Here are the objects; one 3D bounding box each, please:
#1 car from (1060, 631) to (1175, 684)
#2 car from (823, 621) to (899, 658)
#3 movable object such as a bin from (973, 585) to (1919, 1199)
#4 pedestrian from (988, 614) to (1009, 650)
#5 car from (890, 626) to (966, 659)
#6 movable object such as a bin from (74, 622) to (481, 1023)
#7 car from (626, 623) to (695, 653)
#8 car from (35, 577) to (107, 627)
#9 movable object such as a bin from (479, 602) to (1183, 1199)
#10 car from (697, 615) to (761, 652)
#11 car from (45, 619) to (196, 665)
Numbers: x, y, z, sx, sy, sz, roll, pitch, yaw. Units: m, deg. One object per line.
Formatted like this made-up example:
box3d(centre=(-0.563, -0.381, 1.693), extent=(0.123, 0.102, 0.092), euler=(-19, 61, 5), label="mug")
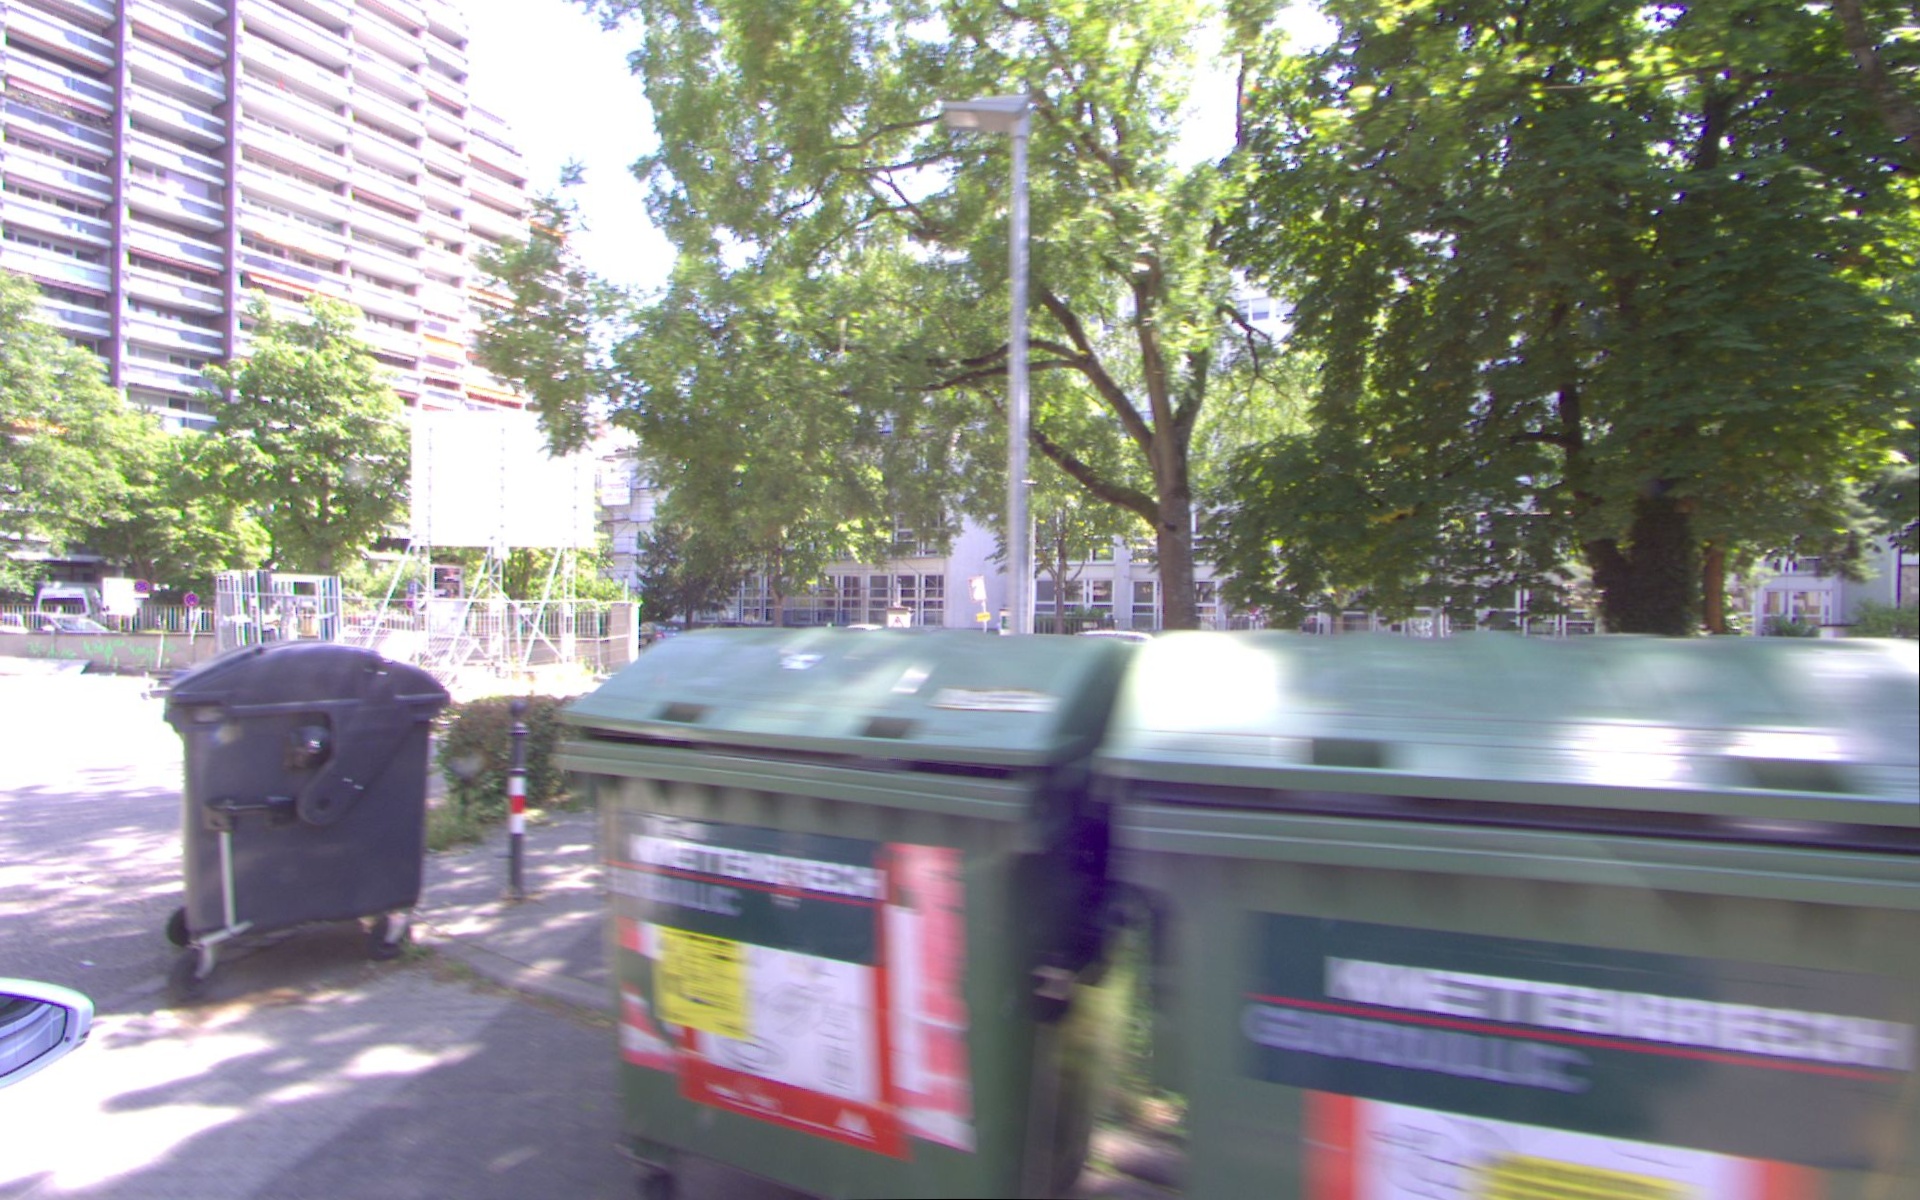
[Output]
box3d(centre=(4.693, 1.719, 30.186), extent=(3.267, 1.498, 1.433), euler=(1, -1, 3), label="car")
box3d(centre=(-4.670, 1.812, 46.874), extent=(1.653, 1.610, 3.657), euler=(1, -1, -43), label="car")
box3d(centre=(0.876, 0.738, 1.693), extent=(1.357, 1.477, 1.073), euler=(0, -1, 32), label="movable object such as a bin")
box3d(centre=(2.180, 1.823, 56.925), extent=(0.863, 2.040, 0.992), euler=(0, 0, 29), label="pedestrian")
box3d(centre=(-1.509, 1.924, 46.425), extent=(1.651, 1.433, 3.680), euler=(1, -1, -40), label="car")
box3d(centre=(-3.077, 0.847, 4.545), extent=(1.357, 1.477, 1.073), euler=(0, -1, 32), label="movable object such as a bin")
box3d(centre=(-14.034, 1.748, 46.835), extent=(1.898, 1.327, 3.901), euler=(1, -1, -37), label="car")
box3d(centre=(-42.637, 0.137, 48.141), extent=(2.165, 2.287, 4.833), euler=(1, -1, -37), label="car")
box3d(centre=(-0.286, 0.757, 2.479), extent=(1.357, 1.477, 1.073), euler=(0, -1, 32), label="movable object such as a bin")
box3d(centre=(-10.899, 1.559, 47.076), extent=(1.988, 1.650, 3.912), euler=(1, -1, -28), label="car")
box3d(centre=(-26.573, 1.299, 31.848), extent=(1.583, 1.337, 3.726), euler=(1, -1, 2), label="car")
